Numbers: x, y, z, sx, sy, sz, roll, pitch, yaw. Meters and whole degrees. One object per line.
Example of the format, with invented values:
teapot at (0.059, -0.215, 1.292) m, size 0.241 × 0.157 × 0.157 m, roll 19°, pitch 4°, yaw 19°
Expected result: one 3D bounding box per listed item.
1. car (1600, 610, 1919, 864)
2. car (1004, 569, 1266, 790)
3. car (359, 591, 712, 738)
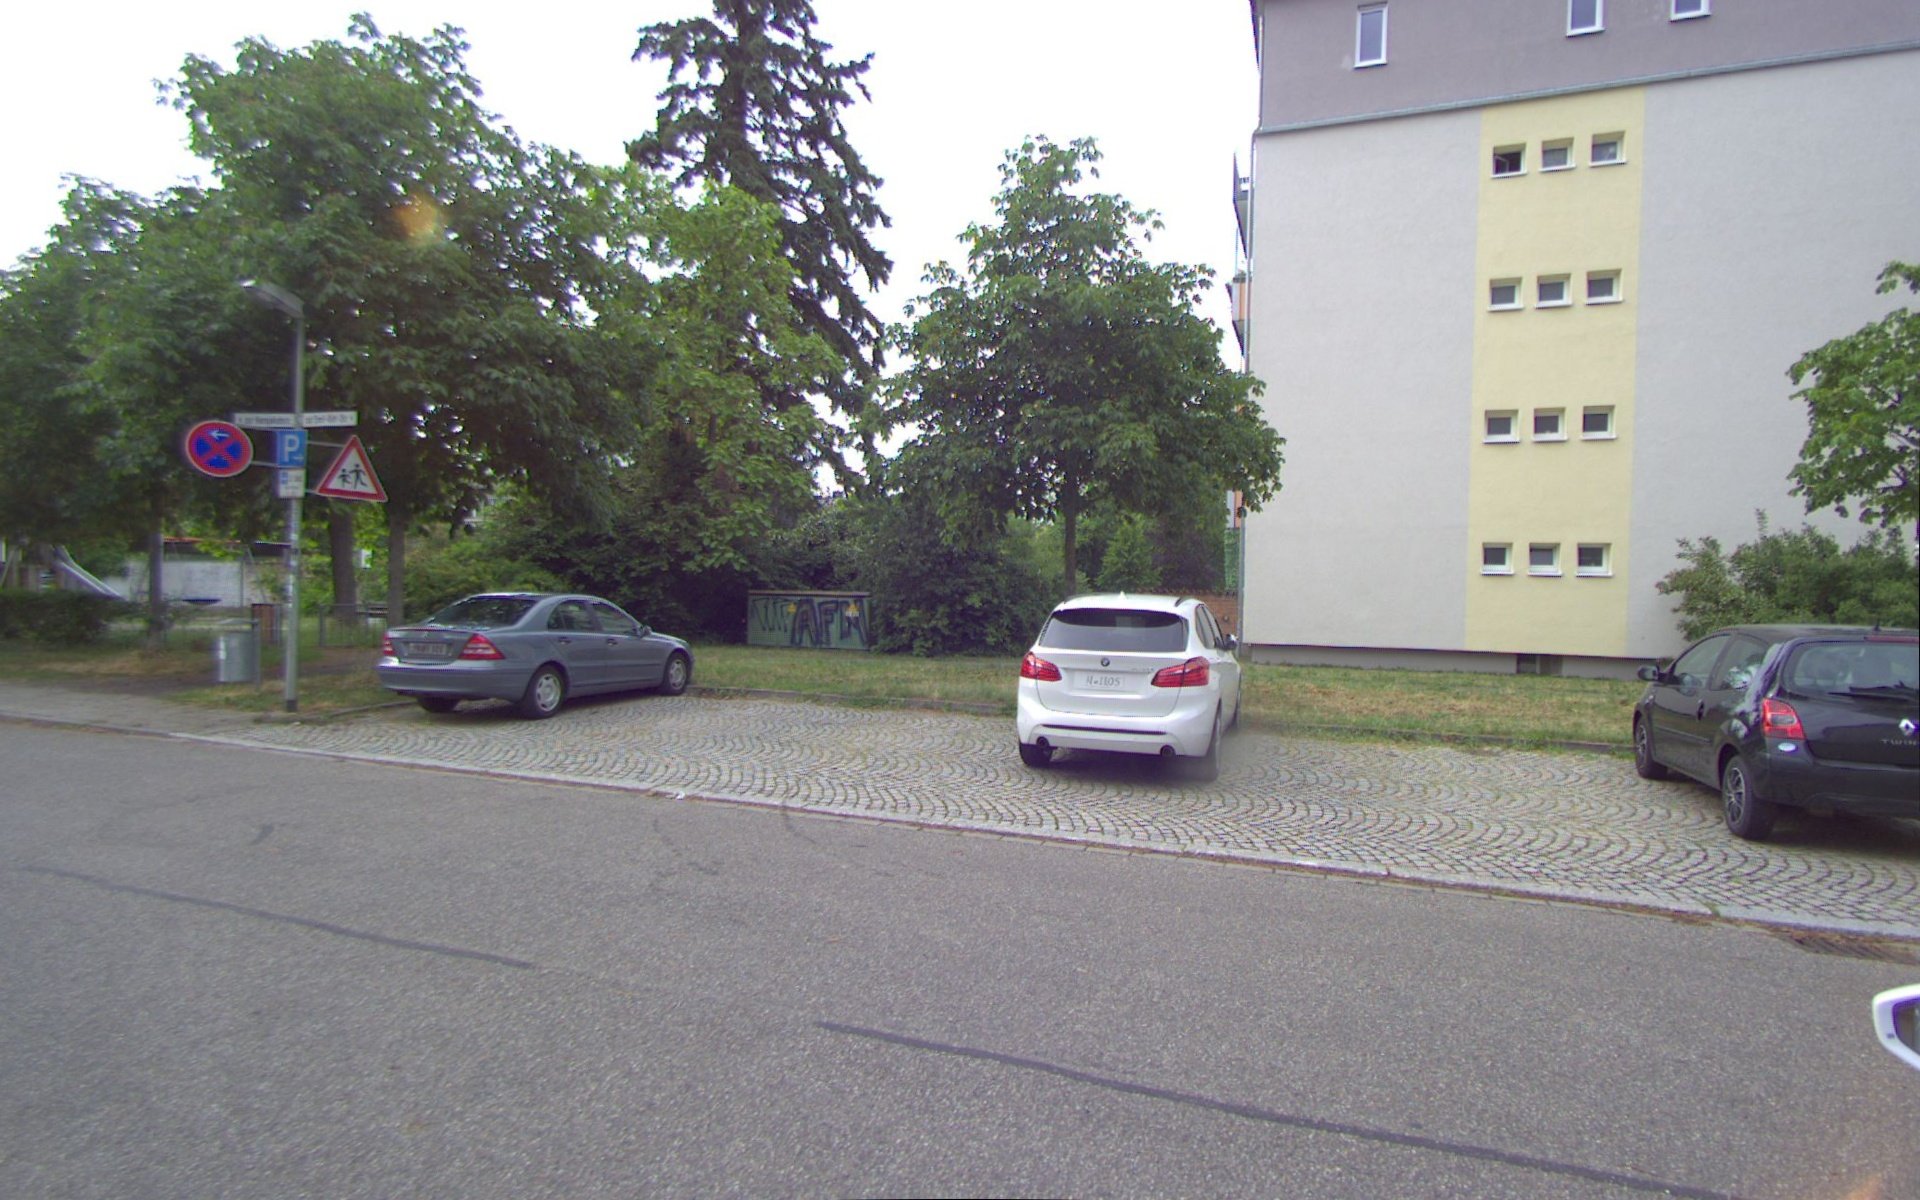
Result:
car at (6.845, 0.888, 8.388) m, size 1.806 × 1.483 × 4.557 m, roll 2°, pitch 1°, yaw 24°
car at (1.968, 0.558, 10.115) m, size 1.847 × 1.582 × 4.147 m, roll 3°, pitch 4°, yaw 20°
car at (-5.069, 0.644, 12.795) m, size 1.646 × 1.474 × 4.561 m, roll 2°, pitch 1°, yaw 16°
